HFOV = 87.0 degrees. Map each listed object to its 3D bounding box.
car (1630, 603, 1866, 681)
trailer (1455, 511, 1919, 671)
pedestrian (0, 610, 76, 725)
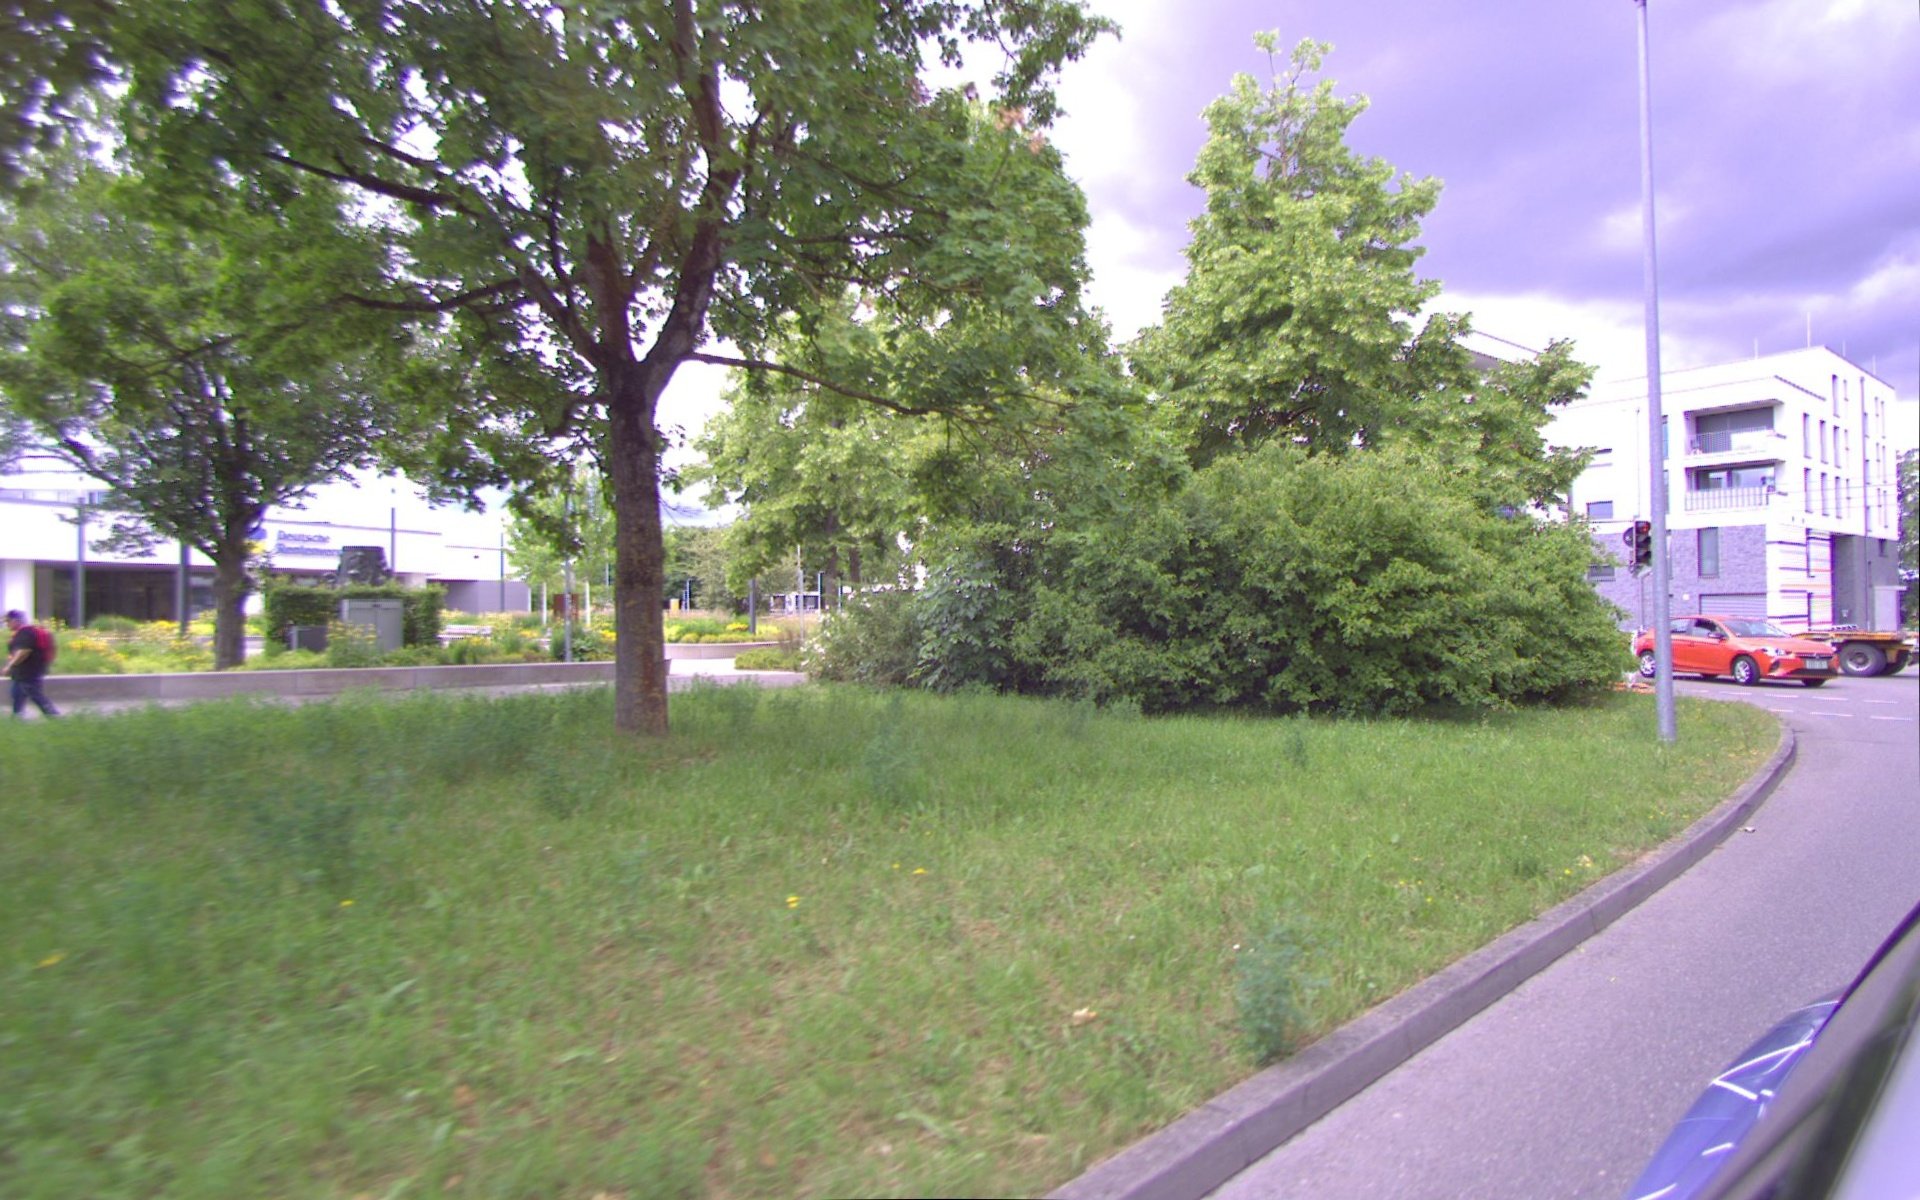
[{"bbox_3d":[16.819,0.836,21.882,1.659,1.498,4.005,0,0,-7],"label":"car"},{"bbox_3d":[19.500,-0.162,27.509,2.664,3.567,10.911,1,-1,-36],"label":"trailer"},{"bbox_3d":[-12.395,0.875,13.433,0.966,1.471,0.759,1,-2,-42],"label":"pedestrian"}]
